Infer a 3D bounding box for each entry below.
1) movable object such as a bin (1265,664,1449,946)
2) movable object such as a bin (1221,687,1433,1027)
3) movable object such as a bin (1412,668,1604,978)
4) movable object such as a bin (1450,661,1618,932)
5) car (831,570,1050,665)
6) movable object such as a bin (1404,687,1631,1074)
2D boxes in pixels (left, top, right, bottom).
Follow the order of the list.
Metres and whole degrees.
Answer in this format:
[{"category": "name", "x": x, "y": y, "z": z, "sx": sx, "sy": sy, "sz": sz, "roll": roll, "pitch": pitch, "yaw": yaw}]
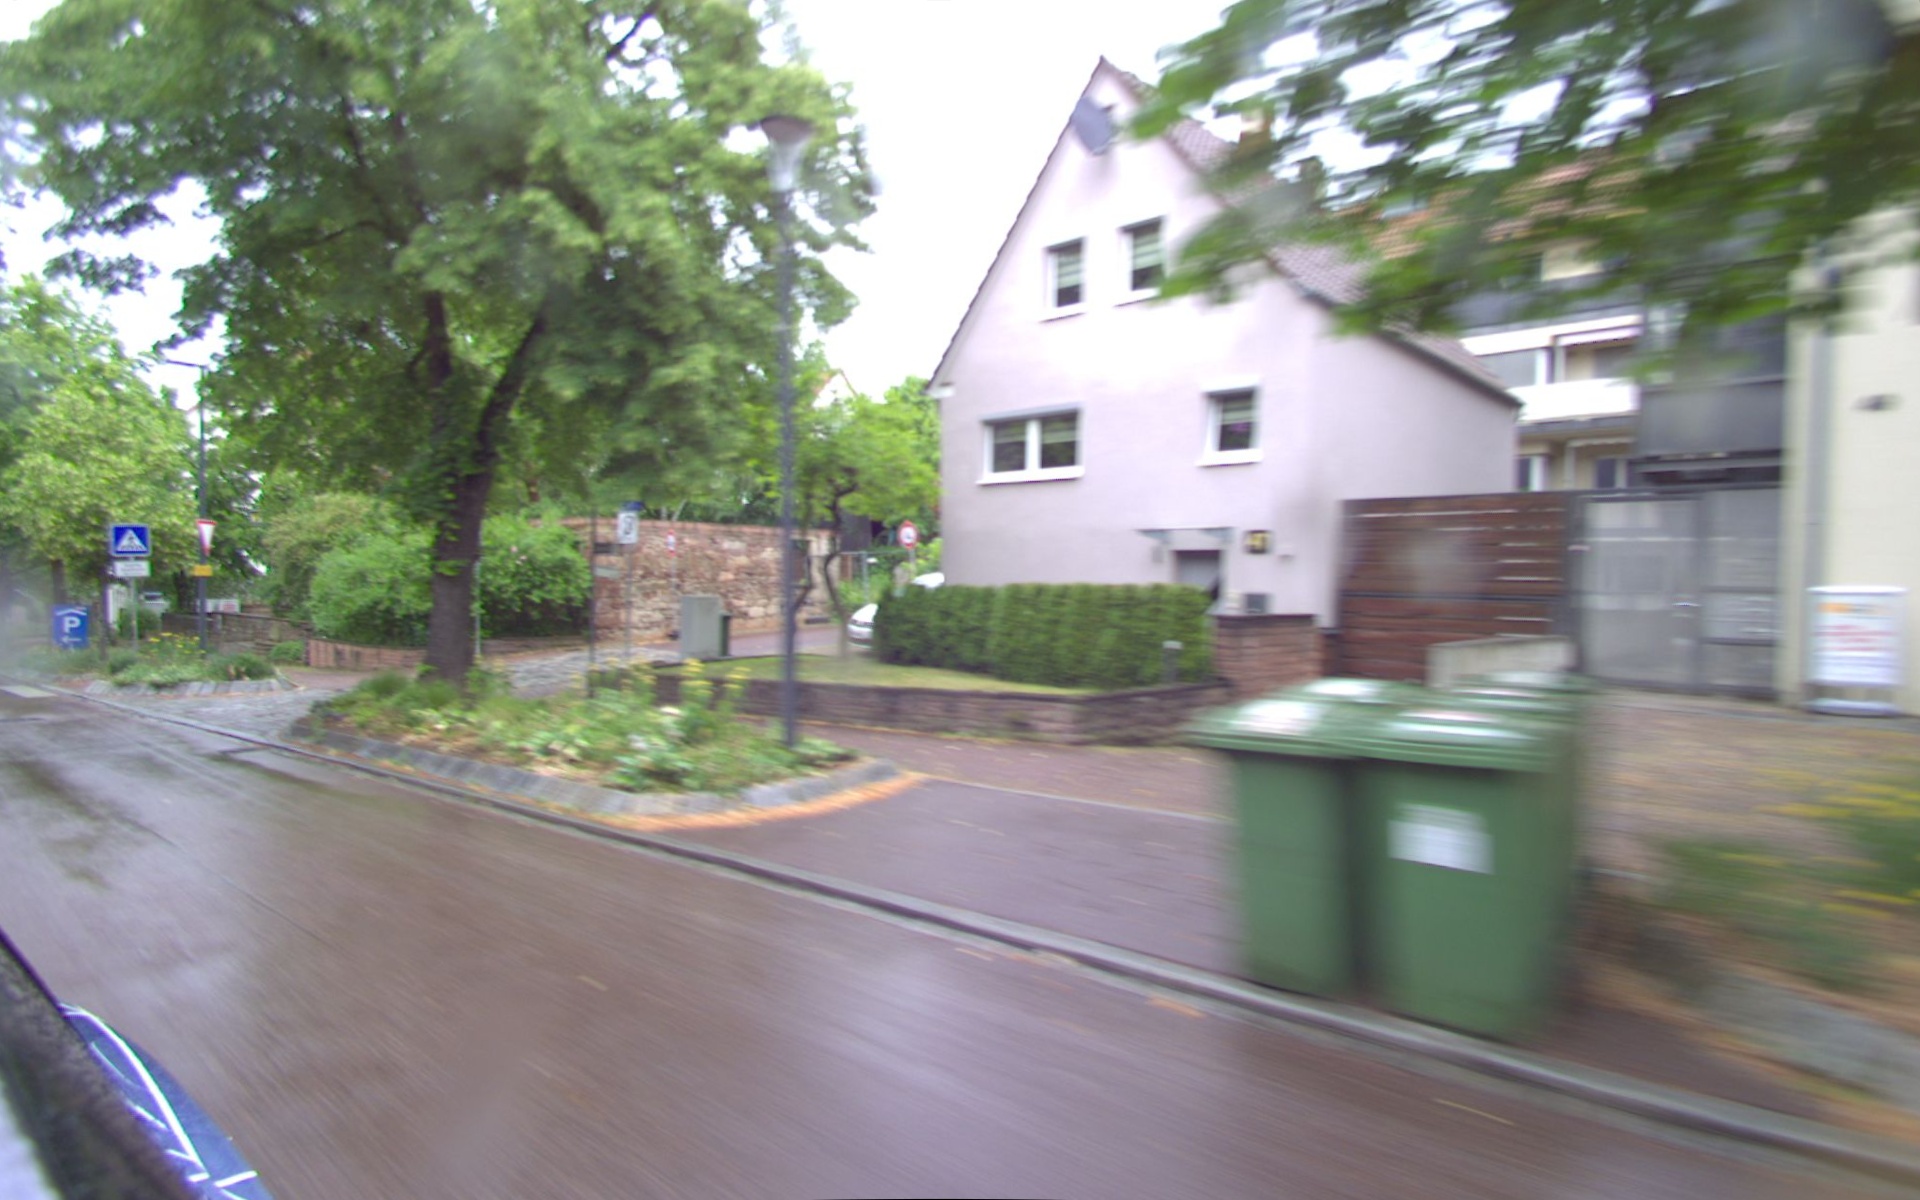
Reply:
[{"category": "movable object such as a bin", "x": 1.778, "y": 0.858, "z": 4.518, "sx": 0.581, "sy": 1.069, "sz": 0.617, "roll": -1, "pitch": 2, "yaw": 39}, {"category": "movable object such as a bin", "x": 1.407, "y": 0.910, "z": 3.858, "sx": 0.564, "sy": 1.067, "sz": 0.622, "roll": -1, "pitch": 2, "yaw": 39}, {"category": "movable object such as a bin", "x": 2.242, "y": 0.848, "z": 4.130, "sx": 0.568, "sy": 1.067, "sz": 0.611, "roll": -1, "pitch": 2, "yaw": 39}, {"category": "movable object such as a bin", "x": 2.637, "y": 0.848, "z": 4.639, "sx": 0.560, "sy": 1.067, "sz": 0.611, "roll": -1, "pitch": 2, "yaw": 39}, {"category": "car", "x": -0.398, "y": 0.293, "z": 22.209, "sx": 4.340, "sy": 1.671, "sz": 2.073, "roll": -4, "pitch": 5, "yaw": -32}, {"category": "movable object such as a bin", "x": 1.912, "y": 0.883, "z": 3.460, "sx": 0.570, "sy": 1.085, "sz": 0.578, "roll": -1, "pitch": 2, "yaw": 39}]
